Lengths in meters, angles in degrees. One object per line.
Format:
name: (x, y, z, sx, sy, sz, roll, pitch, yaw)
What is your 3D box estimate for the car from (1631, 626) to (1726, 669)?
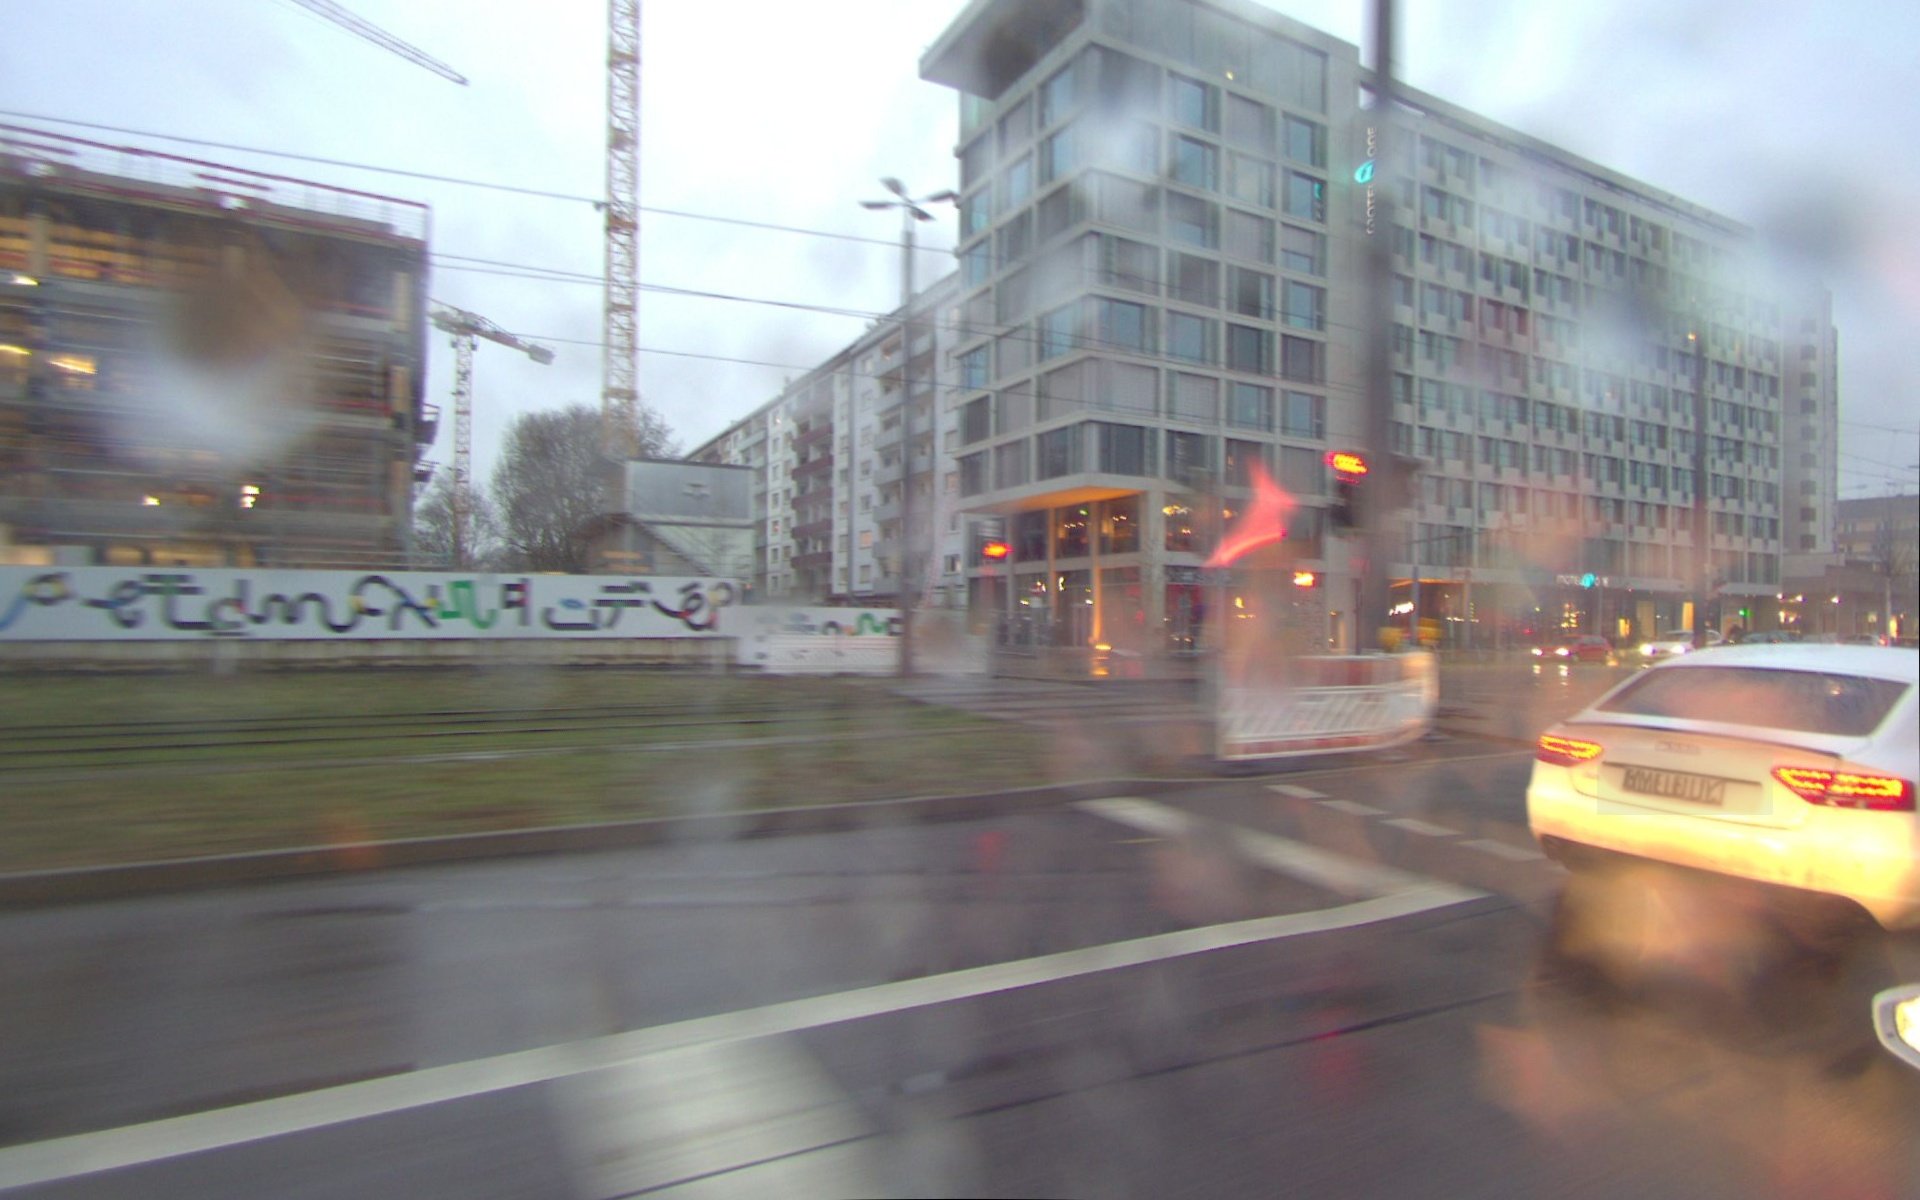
car: (33.037, 2.173, 46.137, 4.545, 1.813, 1.872, 2, 0, -31)

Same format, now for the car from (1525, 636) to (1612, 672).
car: (29.006, 2.546, 47.836, 3.953, 1.595, 1.872, 2, 0, -30)

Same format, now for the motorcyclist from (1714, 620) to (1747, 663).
motorcyclist: (34.862, 1.865, 45.451, 1.021, 1.910, 0.867, 1, 0, -30)

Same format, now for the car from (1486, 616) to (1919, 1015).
car: (5.024, 0.884, 5.677, 4.204, 1.489, 1.750, 2, 0, -32)

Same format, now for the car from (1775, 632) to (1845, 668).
car: (39.197, 2.263, 46.261, 5.061, 1.481, 1.974, 2, 0, -44)

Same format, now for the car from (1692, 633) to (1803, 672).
car: (33.403, 2.209, 42.586, 5.035, 1.481, 1.984, 2, 0, -30)
